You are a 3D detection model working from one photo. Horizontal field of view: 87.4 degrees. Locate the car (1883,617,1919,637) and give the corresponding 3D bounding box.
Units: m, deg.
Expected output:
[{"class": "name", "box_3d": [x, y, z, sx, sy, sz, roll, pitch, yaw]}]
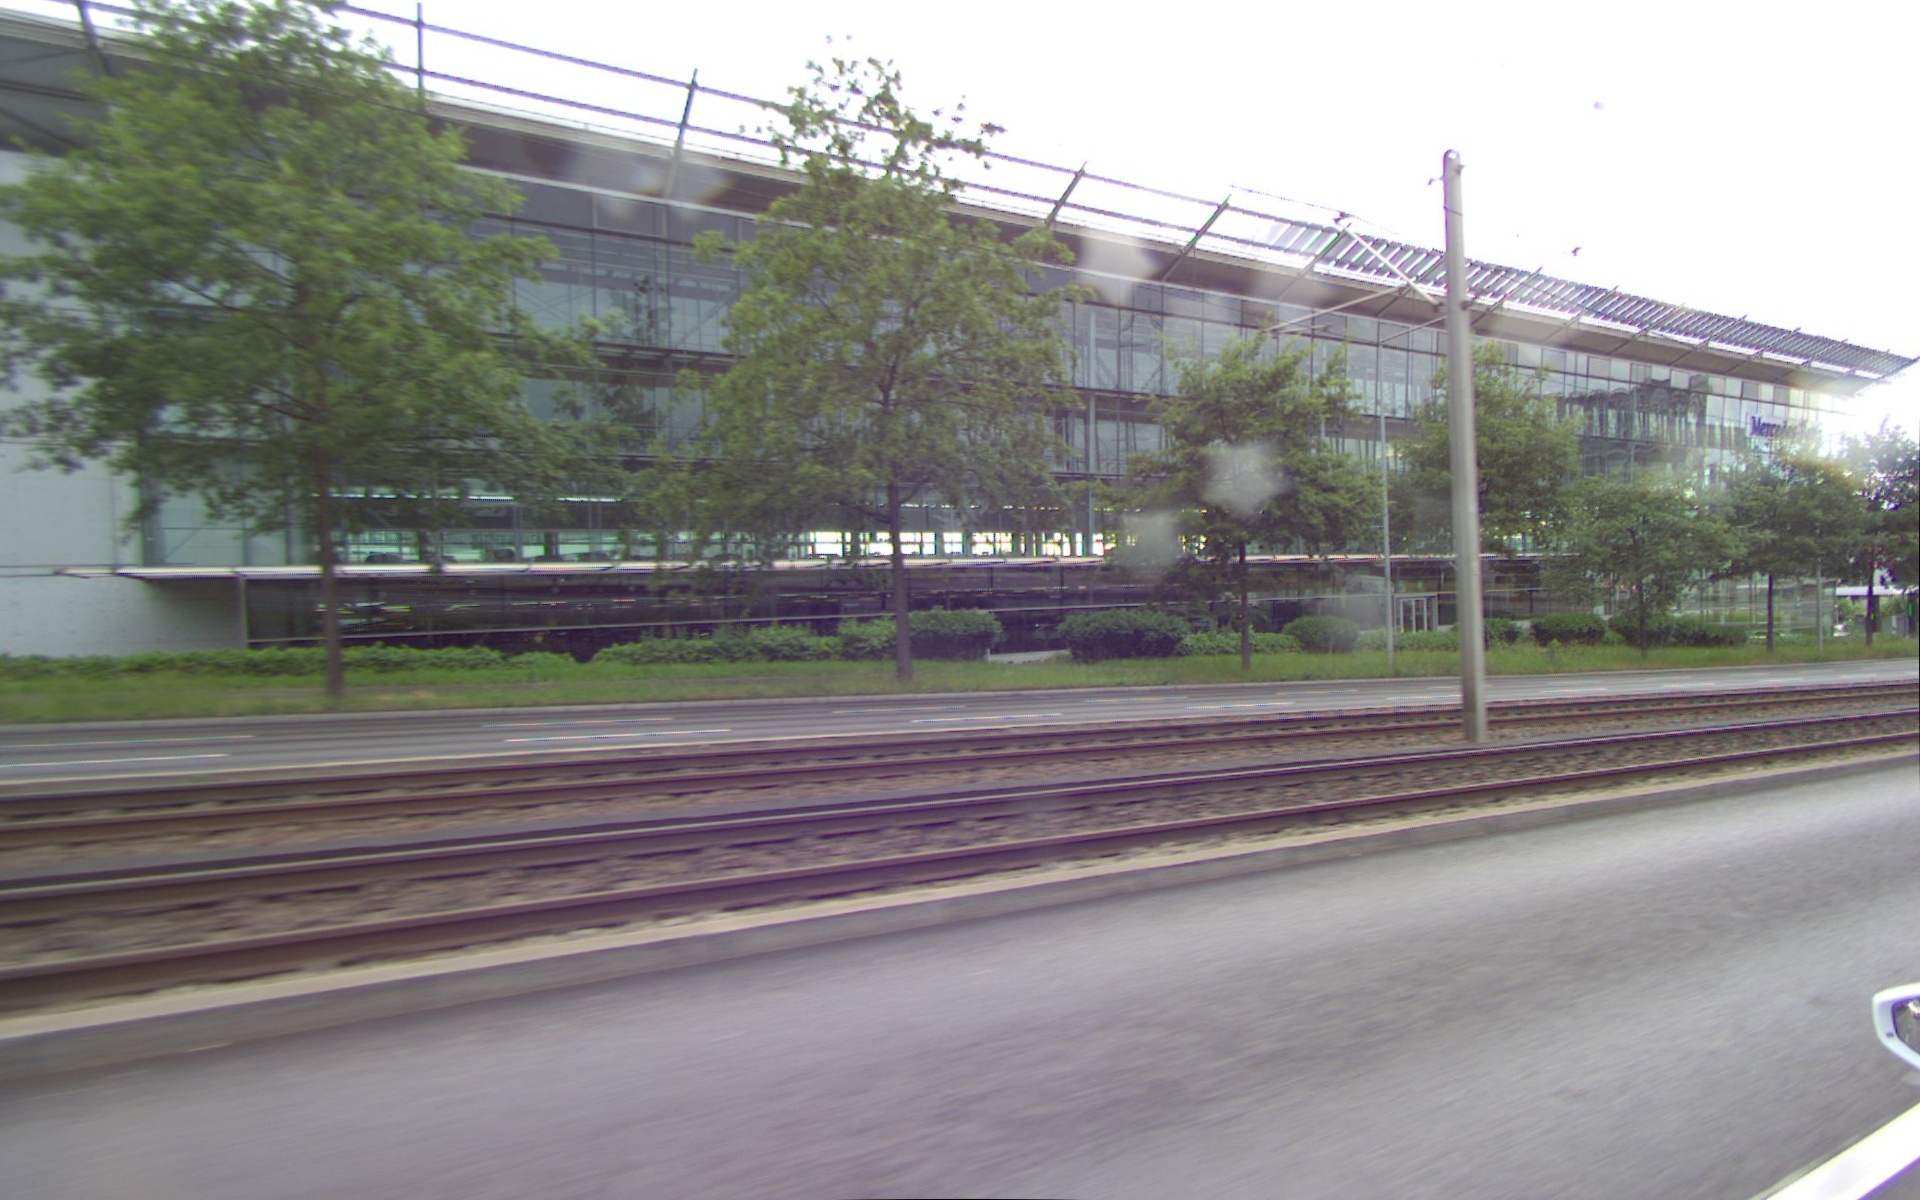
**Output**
[{"class": "car", "box_3d": [90.741, 2.578, 95.571, 1.980, 1.773, 3.960, 1, 1, -35]}]
